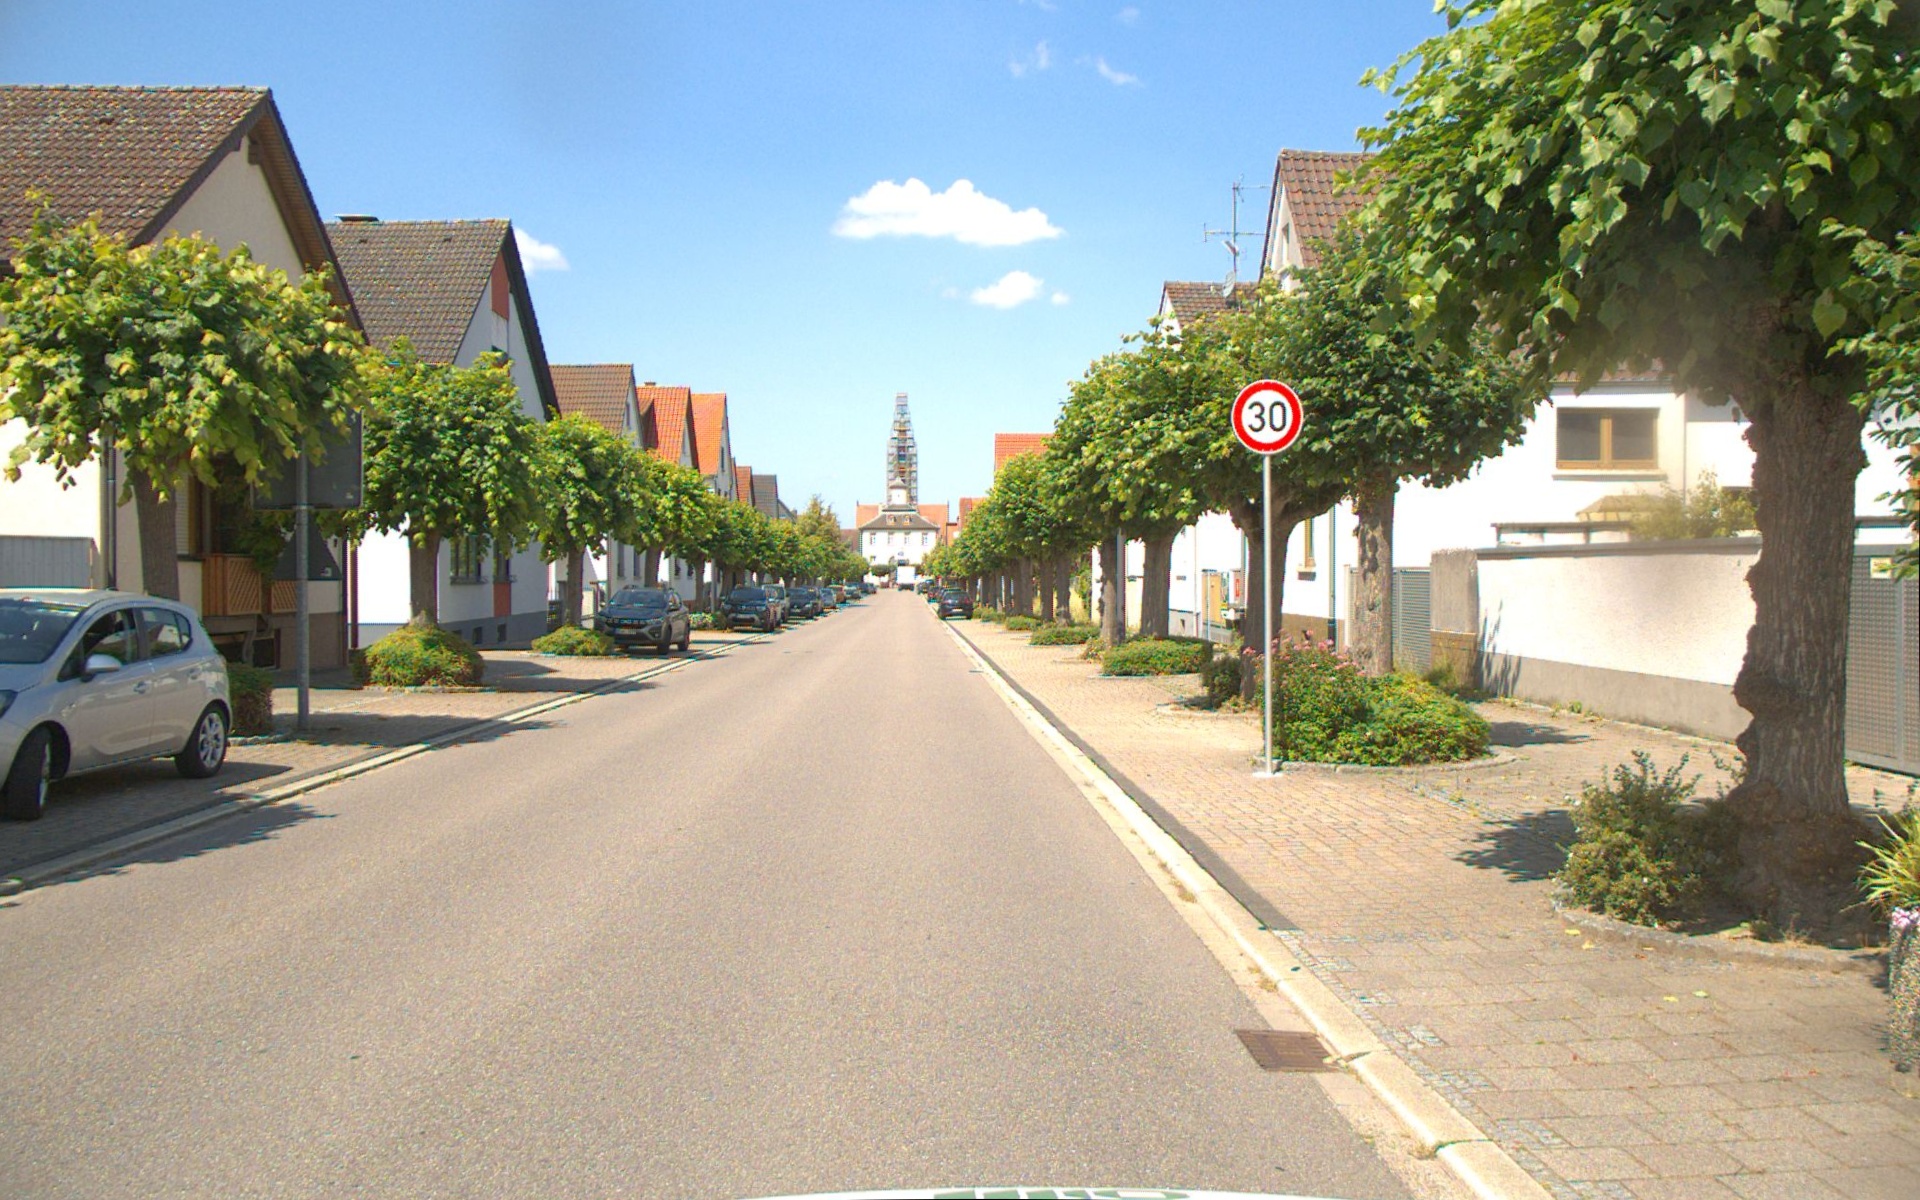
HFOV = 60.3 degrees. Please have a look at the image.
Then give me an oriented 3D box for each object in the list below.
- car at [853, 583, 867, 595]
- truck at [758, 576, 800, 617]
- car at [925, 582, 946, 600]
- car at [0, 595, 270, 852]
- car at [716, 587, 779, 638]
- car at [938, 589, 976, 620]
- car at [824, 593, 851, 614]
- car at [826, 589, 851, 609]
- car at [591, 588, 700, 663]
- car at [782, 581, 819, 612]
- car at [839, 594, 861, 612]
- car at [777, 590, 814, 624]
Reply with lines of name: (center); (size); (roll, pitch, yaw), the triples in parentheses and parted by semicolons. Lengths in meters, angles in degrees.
car: (-12.827, -1.433, 212.216); (1.722, 1.582, 4.019); (0, 1, -1)
truck: (-8.391, -0.171, 76.848); (1.544, 1.796, 4.190); (2, 0, -2)
car: (-2.305, -0.823, 155.546); (1.800, 1.582, 4.312); (-2, 1, -2)
car: (-6.827, 0.753, 12.189); (1.788, 1.509, 4.131); (2, 0, -2)
car: (-7.716, 0.439, 60.364); (1.816, 1.665, 4.298); (2, 1, -2)
car: (-0.188, 0.239, 86.072); (1.787, 1.457, 4.055); (-2, 1, -2)
car: (-8.739, 0.255, 118.477); (1.804, 1.420, 4.404); (1, 1, -2)
car: (-10.827, -0.103, 147.452); (1.953, 1.639, 4.688); (1, 1, -1)
car: (-7.568, 0.573, 40.151); (1.815, 1.641, 4.135); (2, 0, 0)
car: (-8.971, -0.224, 93.325); (1.815, 1.663, 4.055); (1, 0, -2)
car: (-11.264, 0.273, 169.401); (1.953, 1.639, 4.688); (2, 1, -1)
car: (-8.483, 0.360, 85.255); (1.752, 1.662, 3.994); (1, 0, -7)
